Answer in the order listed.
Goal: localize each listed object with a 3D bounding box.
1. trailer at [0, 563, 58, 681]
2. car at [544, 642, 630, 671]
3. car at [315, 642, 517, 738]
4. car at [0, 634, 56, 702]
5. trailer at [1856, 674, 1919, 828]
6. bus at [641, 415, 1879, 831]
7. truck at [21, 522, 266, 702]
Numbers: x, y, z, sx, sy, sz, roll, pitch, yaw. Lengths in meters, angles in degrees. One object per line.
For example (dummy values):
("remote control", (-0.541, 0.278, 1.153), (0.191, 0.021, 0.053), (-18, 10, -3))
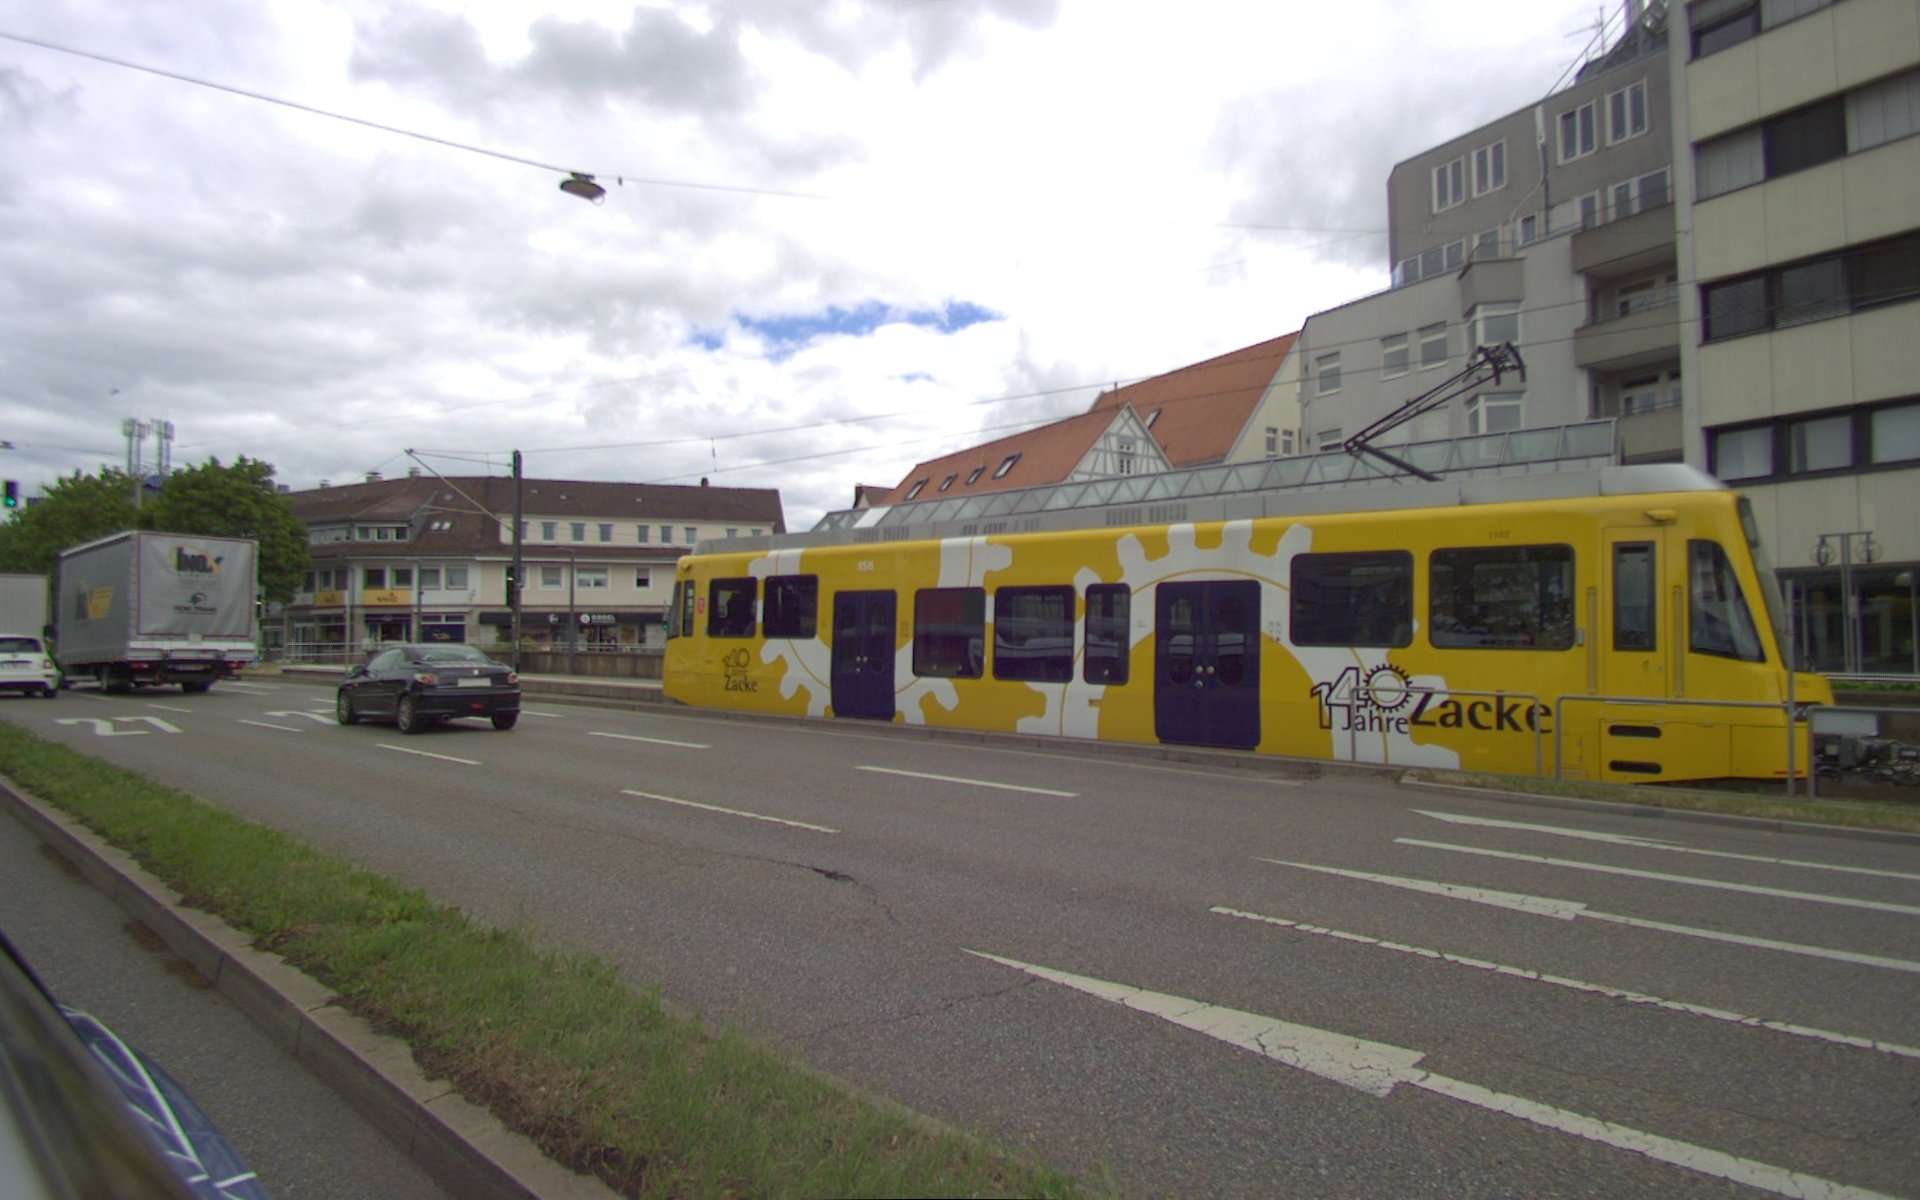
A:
("trailer", (-40.844, 1.044, 40.983), (14.811, 4.302, 3.075), (-2, -3, 35))
("car", (-21.162, 3.180, 57.457), (4.290, 1.528, 1.797), (1, -3, -34))
("car", (-8.860, 1.394, 16.360), (3.946, 1.355, 1.490), (-2, -5, 40))
("car", (-22.720, 1.561, 23.827), (3.715, 1.514, 1.572), (-2, -2, 40))
("trailer", (14.291, 1.365, 6.836), (12.108, 1.343, 2.814), (-1, -3, 38))
("bus", (2.074, 0.447, 16.932), (19.312, 3.889, 3.840), (-1, -3, 38))
("truck", (-21.551, 0.417, 26.486), (9.151, 3.988, 2.910), (-2, -3, 38))
